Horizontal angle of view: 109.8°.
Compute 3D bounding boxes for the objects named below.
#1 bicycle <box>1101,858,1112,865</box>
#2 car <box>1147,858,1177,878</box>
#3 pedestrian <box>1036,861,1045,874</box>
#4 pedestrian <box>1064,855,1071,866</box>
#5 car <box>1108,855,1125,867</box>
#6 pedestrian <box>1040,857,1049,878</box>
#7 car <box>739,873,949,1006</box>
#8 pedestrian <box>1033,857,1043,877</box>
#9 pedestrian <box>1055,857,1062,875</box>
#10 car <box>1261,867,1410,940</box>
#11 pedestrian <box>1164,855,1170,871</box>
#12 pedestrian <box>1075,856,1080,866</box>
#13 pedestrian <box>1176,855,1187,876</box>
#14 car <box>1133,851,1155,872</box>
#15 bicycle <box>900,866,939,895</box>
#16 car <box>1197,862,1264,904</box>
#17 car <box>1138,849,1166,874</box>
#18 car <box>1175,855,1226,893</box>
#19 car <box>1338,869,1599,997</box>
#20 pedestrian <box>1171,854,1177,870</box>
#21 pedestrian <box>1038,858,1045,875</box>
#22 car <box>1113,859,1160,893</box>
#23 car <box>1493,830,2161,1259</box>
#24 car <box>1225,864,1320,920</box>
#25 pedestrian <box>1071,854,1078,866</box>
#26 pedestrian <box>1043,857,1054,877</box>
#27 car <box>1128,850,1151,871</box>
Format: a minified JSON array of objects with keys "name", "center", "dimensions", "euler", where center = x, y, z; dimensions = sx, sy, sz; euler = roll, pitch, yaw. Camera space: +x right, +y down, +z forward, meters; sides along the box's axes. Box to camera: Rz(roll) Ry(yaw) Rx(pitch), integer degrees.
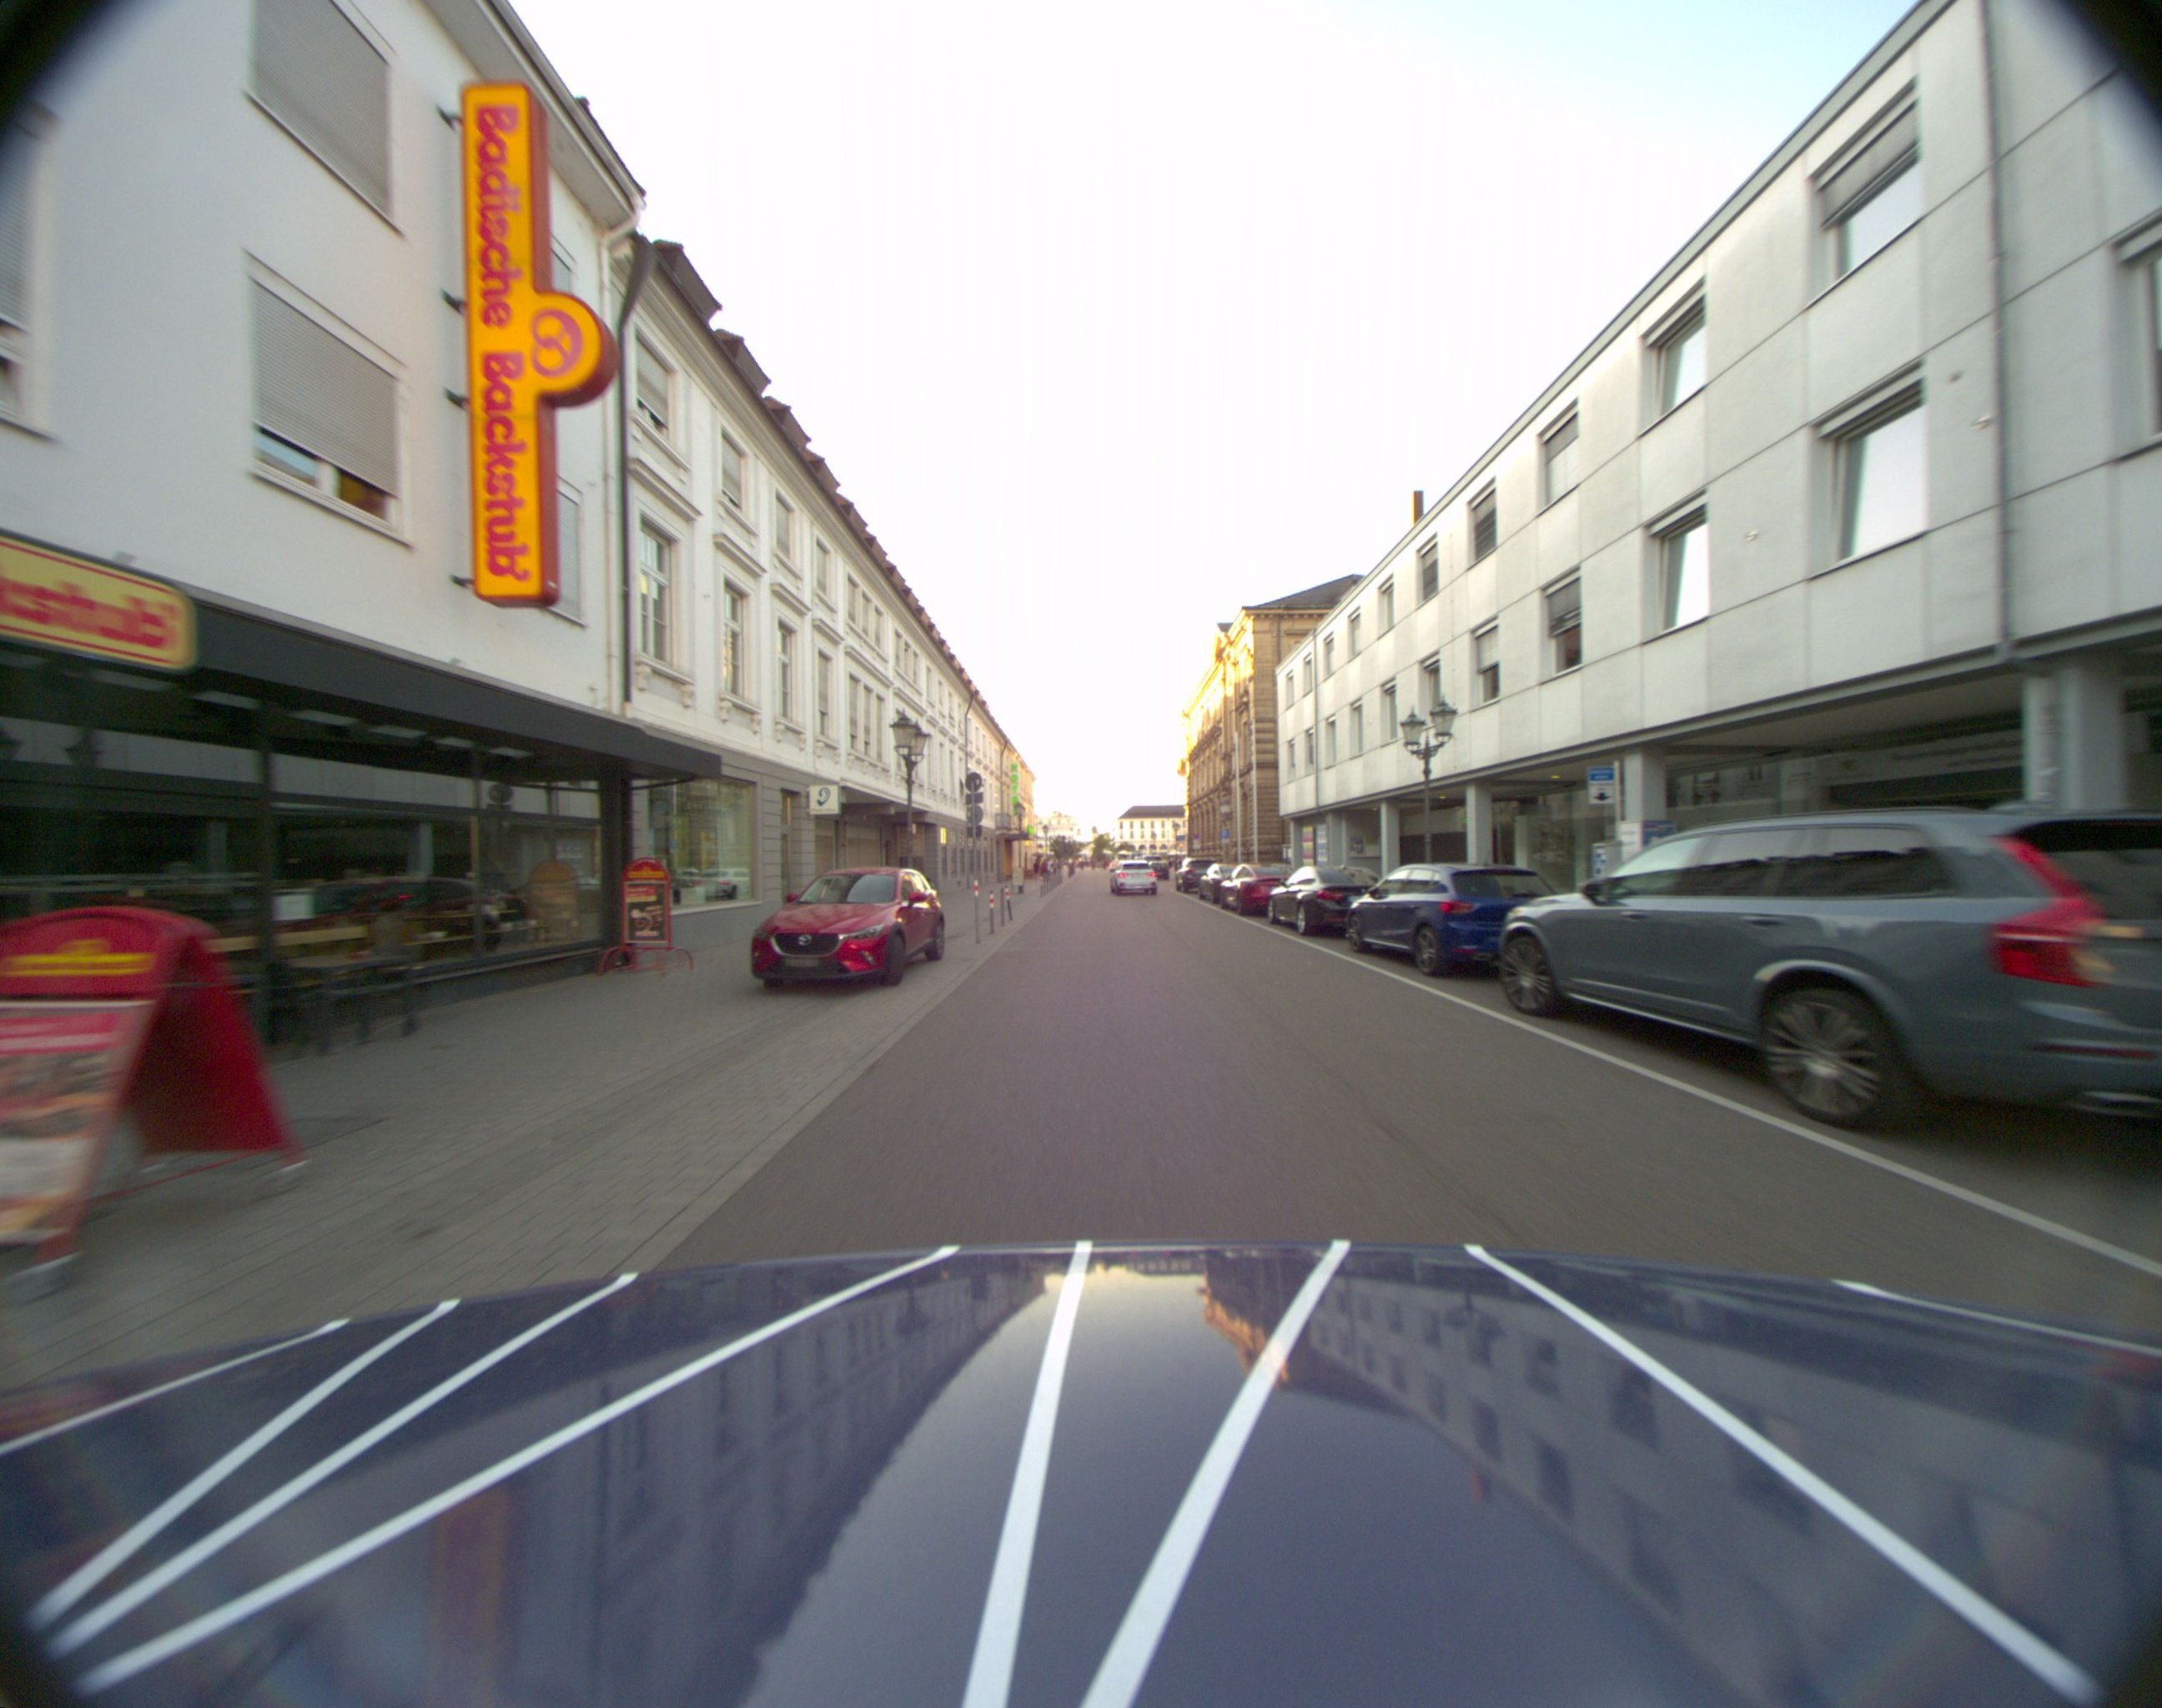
[{"name":"bicycle","center":[4.320,1.297,127.803],"dimensions":[1.683,1.115,0.846],"euler":[-1,0,35]},{"name":"car","center":[6.334,1.067,59.560],"dimensions":[1.998,1.486,4.165],"euler":[-1,0,2]},{"name":"pedestrian","center":[-4.360,1.393,81.183],"dimensions":[0.777,1.351,0.723],"euler":[-1,0,-15]},{"name":"pedestrian","center":[-2.054,0.966,113.888],"dimensions":[0.607,1.720,0.719],"euler":[-1,0,44]},{"name":"car","center":[4.377,0.842,93.928],"dimensions":[1.790,1.400,4.088],"euler":[-1,0,-1]},{"name":"pedestrian","center":[-3.107,1.112,64.867],"dimensions":[0.621,1.779,0.914],"euler":[-1,0,5]},{"name":"car","center":[-3.172,1.074,10.967],"dimensions":[1.763,1.514,3.677],"euler":[-1,0,2]},{"name":"pedestrian","center":[-3.720,1.132,65.737],"dimensions":[0.715,1.720,0.873],"euler":[-1,0,3]},{"name":"pedestrian","center":[-2.203,1.121,73.284],"dimensions":[0.608,1.720,0.558],"euler":[-1,0,2]},{"name":"car","center":[5.374,0.986,16.634],"dimensions":[1.998,1.346,4.000],"euler":[0,0,1]},{"name":"pedestrian","center":[9.015,0.922,79.444],"dimensions":[0.583,1.720,0.831],"euler":[-1,0,2]},{"name":"pedestrian","center":[-0.599,1.180,119.943],"dimensions":[0.683,1.557,0.653],"euler":[-1,0,-1]},{"name":"pedestrian","center":[8.811,1.008,66.653],"dimensions":[0.715,1.720,0.896],"euler":[-4,0,2]},{"name":"car","center":[6.466,0.706,78.245],"dimensions":[1.998,2.075,5.207],"euler":[-1,0,2]},{"name":"bicycle","center":[-7.358,1.197,34.580],"dimensions":[1.661,1.245,0.439],"euler":[-1,0,-1]},{"name":"car","center":[5.438,1.019,28.057],"dimensions":[1.789,1.400,4.089],"euler":[-1,0,2]},{"name":"car","center":[6.173,0.624,66.211],"dimensions":[1.998,2.065,4.989],"euler":[-1,1,1]},{"name":"car","center":[5.408,0.871,34.888],"dimensions":[1.789,1.605,4.166],"euler":[-1,0,2]},{"name":"car","center":[5.148,0.950,10.765],"dimensions":[1.677,1.392,4.000],"euler":[-1,0,0]},{"name":"pedestrian","center":[9.732,0.840,79.488],"dimensions":[0.608,1.720,0.703],"euler":[-1,0,2]},{"name":"pedestrian","center":[-3.783,1.227,72.815],"dimensions":[0.631,1.591,0.615],"euler":[-1,0,2]},{"name":"car","center":[2.403,0.939,33.640],"dimensions":[1.768,1.413,4.000],"euler":[0,0,0]},{"name":"car","center":[5.037,0.769,5.276],"dimensions":[1.998,1.718,4.516],"euler":[0,0,1]},{"name":"car","center":[5.356,1.015,21.734],"dimensions":[1.789,1.400,4.089],"euler":[-1,0,2]},{"name":"pedestrian","center":[-0.988,0.915,113.927],"dimensions":[0.667,1.720,0.767],"euler":[-1,0,44]},{"name":"pedestrian","center":[-2.816,1.114,65.965],"dimensions":[0.749,1.720,0.881],"euler":[-1,0,4]},{"name":"car","center":[6.463,0.723,84.984],"dimensions":[1.999,2.158,5.206],"euler":[-1,0,-1]}]
